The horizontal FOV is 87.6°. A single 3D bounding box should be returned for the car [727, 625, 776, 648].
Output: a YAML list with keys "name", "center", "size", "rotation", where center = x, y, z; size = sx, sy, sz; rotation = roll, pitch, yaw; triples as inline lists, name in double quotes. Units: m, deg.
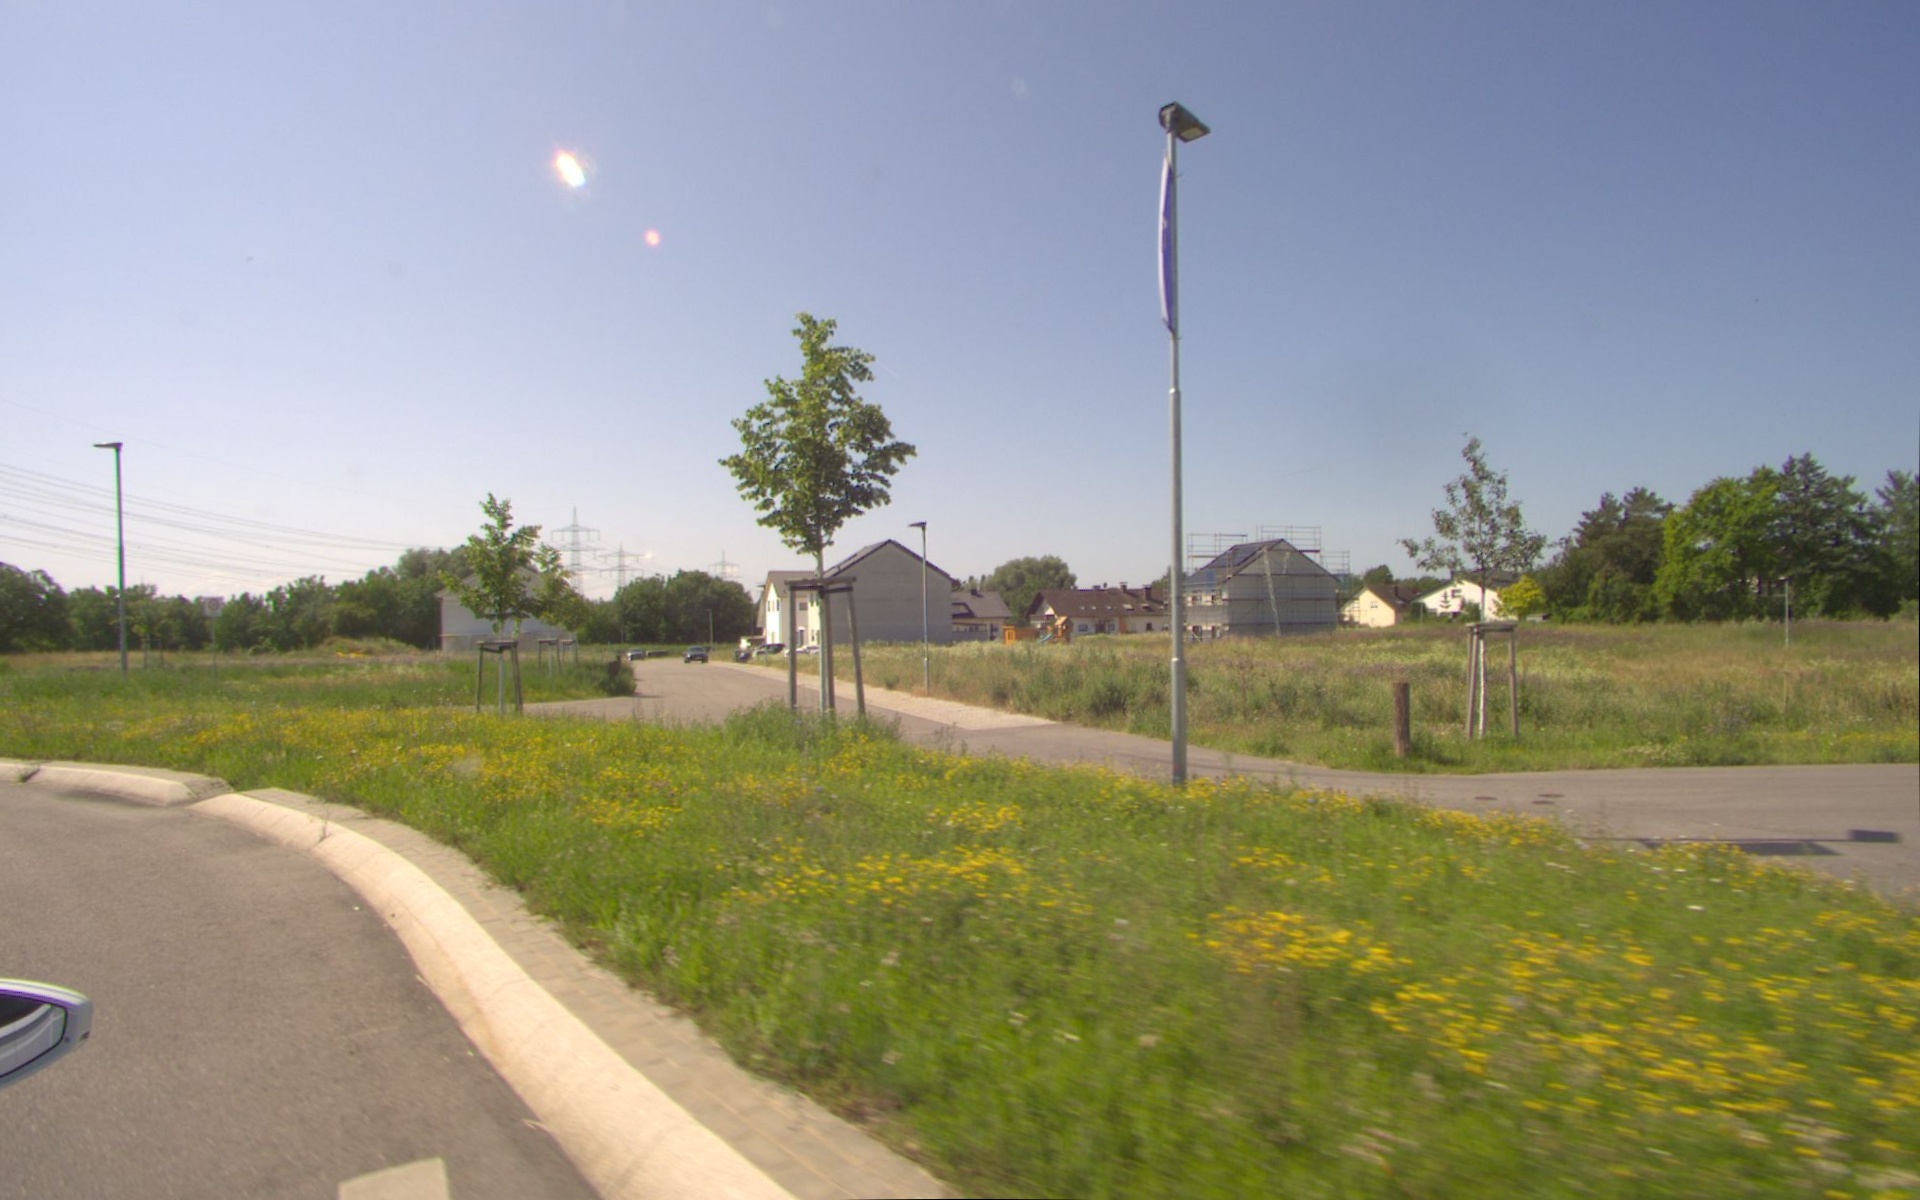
- name: "car"
  center: [-17.880, 3.097, 85.925]
  size: [3.929, 1.817, 1.997]
  rotation: [-1, -1, -18]

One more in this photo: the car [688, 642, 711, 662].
- name: "car"
  center: [-23.134, 4.630, 89.117]
  size: [1.649, 1.682, 3.487]
  rotation: [-1, -2, -9]

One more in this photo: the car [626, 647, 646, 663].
- name: "car"
  center: [-36.494, 6.165, 112.836]
  size: [1.649, 1.682, 3.487]
  rotation: [-1, -2, -9]
